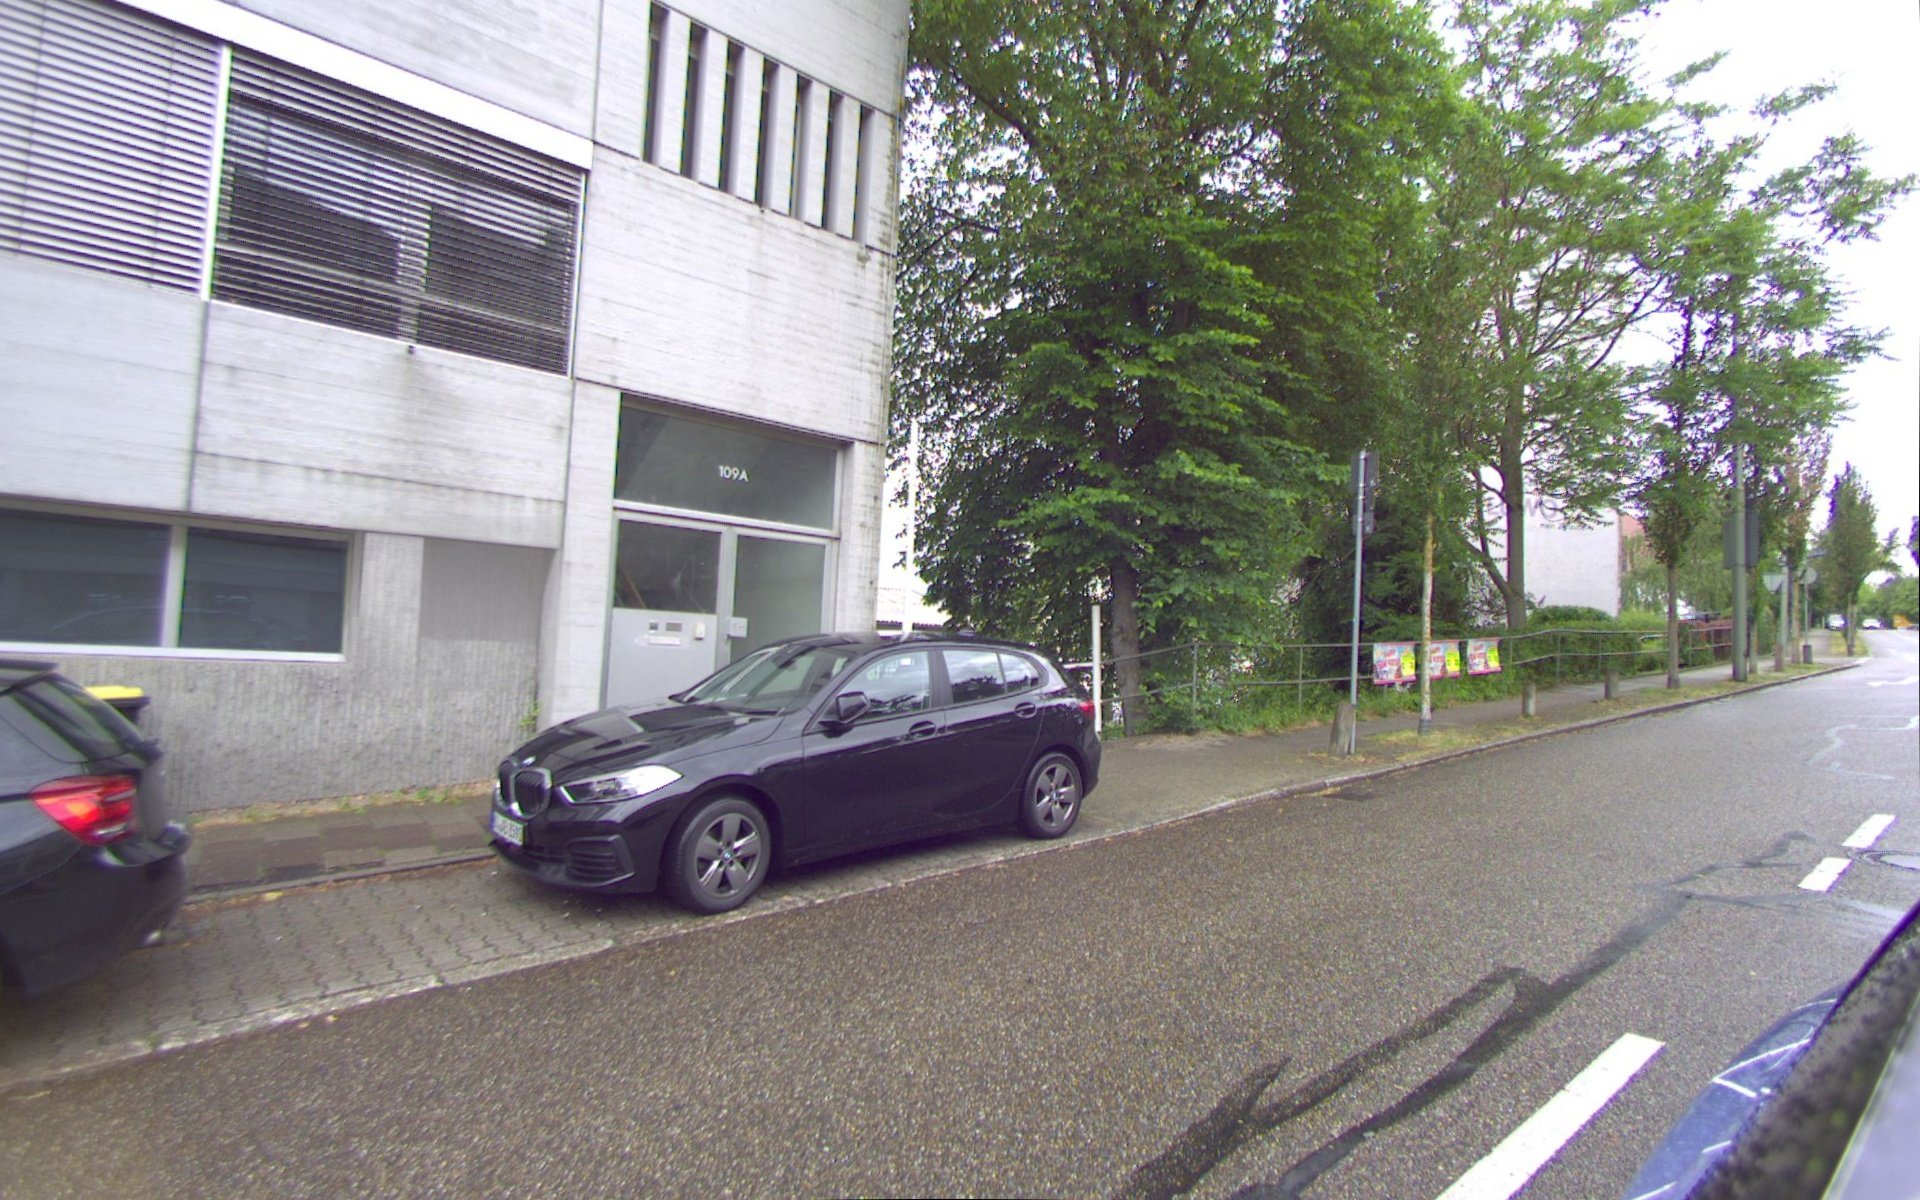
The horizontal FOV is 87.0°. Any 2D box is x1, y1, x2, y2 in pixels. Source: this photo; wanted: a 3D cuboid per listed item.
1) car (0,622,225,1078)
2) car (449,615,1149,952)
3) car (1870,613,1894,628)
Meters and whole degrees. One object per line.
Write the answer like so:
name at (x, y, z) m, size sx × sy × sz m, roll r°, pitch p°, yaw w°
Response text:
car at (-4.907, 0.852, 3.161) m, size 4.173 × 1.466 × 1.753 m, roll 0°, pitch 0°, yaw -38°
car at (-0.844, 0.885, 6.922) m, size 4.367 × 1.453 × 1.996 m, roll 0°, pitch 1°, yaw -43°
car at (118.459, 2.611, 129.991) m, size 4.166 × 1.741 × 1.889 m, roll 0°, pitch 2°, yaw -43°
